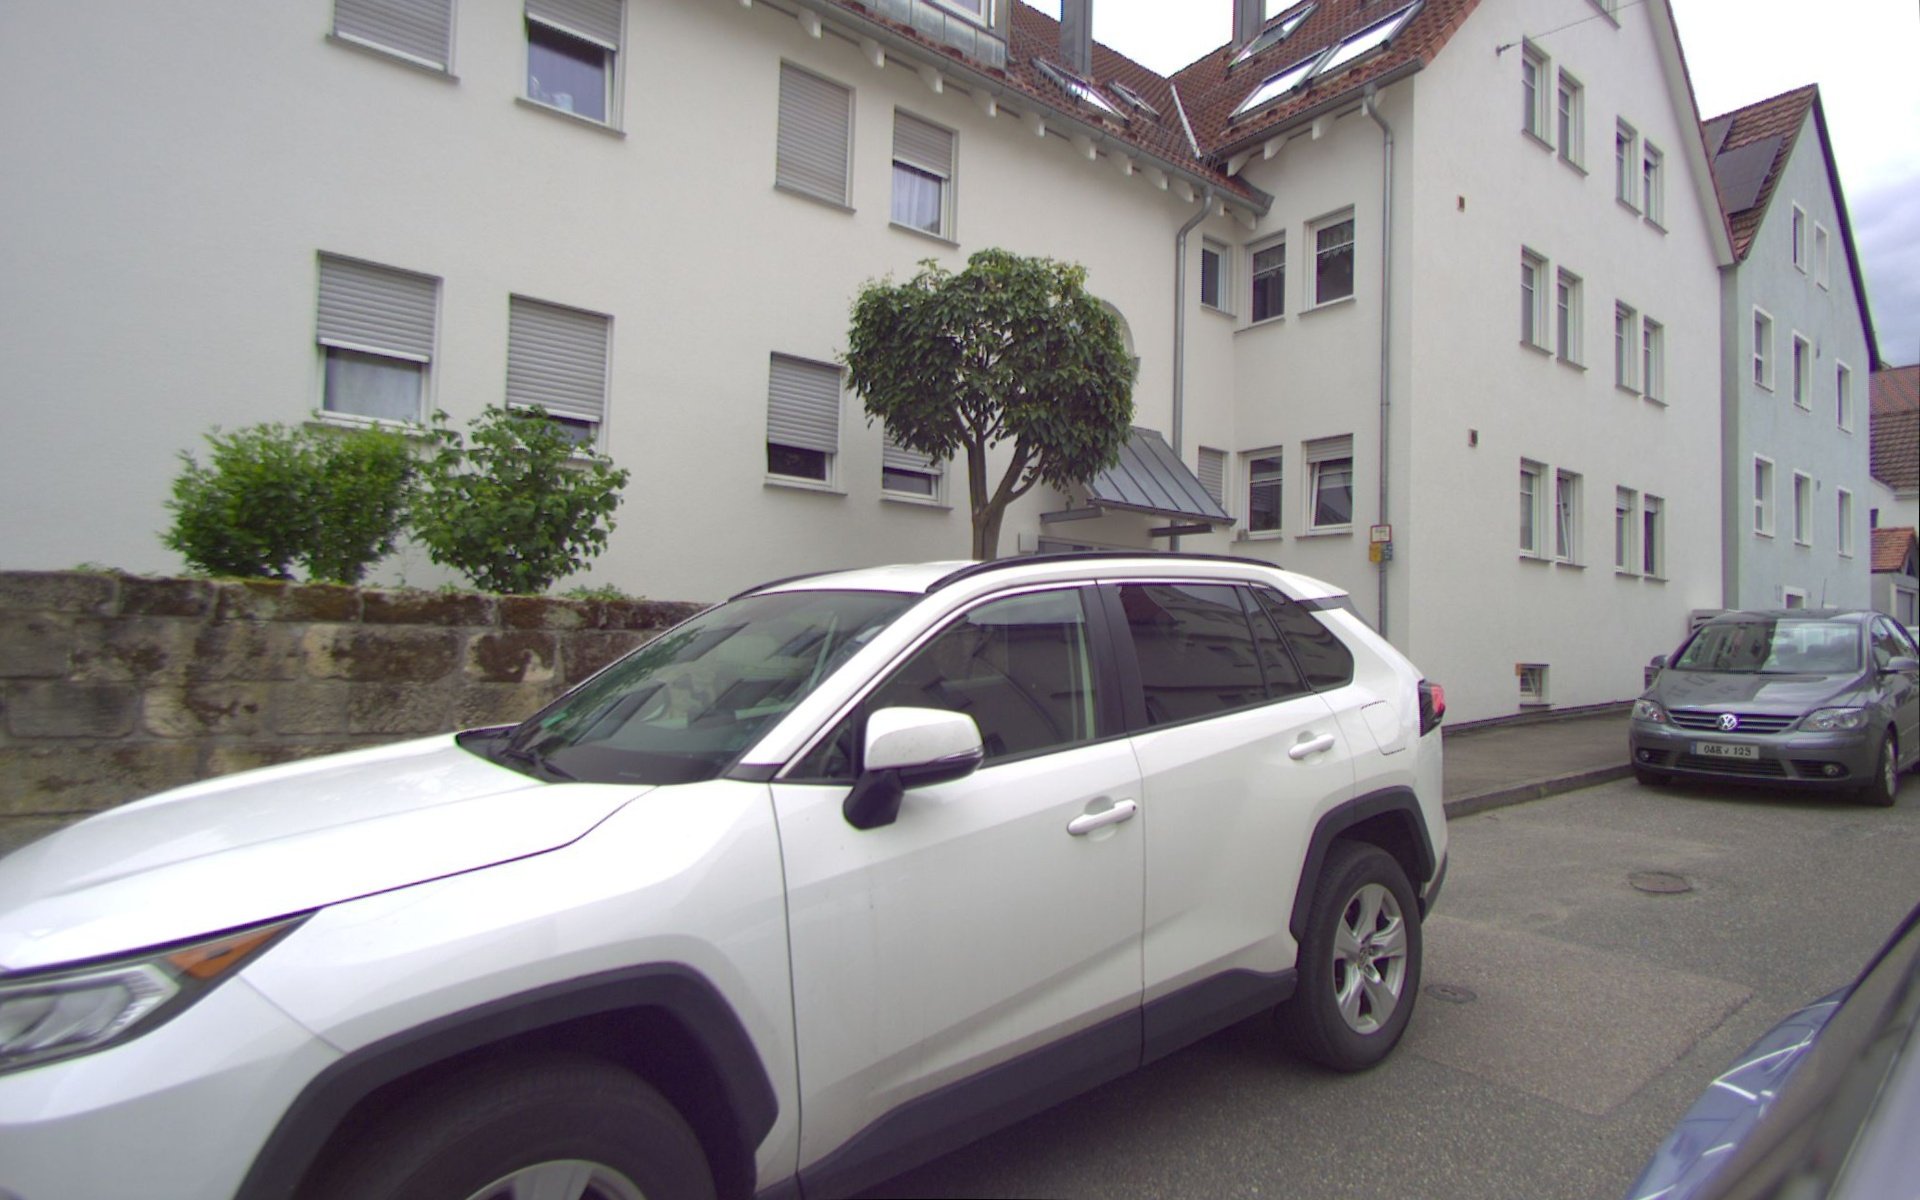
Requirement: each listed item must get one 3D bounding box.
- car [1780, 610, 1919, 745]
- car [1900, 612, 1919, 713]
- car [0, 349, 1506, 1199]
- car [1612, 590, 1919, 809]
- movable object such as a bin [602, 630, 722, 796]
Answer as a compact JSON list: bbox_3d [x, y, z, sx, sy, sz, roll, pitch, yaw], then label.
[{"bbox_3d":[11.819,0.863,12.353,3.884,1.462,1.813,0,-2,-36],"label":"car"},{"bbox_3d":[15.986,0.928,15.419,4.186,1.462,1.729,2,-3,-38],"label":"car"},{"bbox_3d":[-0.266,0.581,3.189,4.380,1.661,1.950,1,-3,-39],"label":"car"},{"bbox_3d":[7.658,0.765,9.236,3.838,1.584,1.738,1,-3,-39],"label":"car"},{"bbox_3d":[-2.089,0.758,7.091,0.609,1.051,0.604,0,1,-40],"label":"movable object such as a bin"}]
